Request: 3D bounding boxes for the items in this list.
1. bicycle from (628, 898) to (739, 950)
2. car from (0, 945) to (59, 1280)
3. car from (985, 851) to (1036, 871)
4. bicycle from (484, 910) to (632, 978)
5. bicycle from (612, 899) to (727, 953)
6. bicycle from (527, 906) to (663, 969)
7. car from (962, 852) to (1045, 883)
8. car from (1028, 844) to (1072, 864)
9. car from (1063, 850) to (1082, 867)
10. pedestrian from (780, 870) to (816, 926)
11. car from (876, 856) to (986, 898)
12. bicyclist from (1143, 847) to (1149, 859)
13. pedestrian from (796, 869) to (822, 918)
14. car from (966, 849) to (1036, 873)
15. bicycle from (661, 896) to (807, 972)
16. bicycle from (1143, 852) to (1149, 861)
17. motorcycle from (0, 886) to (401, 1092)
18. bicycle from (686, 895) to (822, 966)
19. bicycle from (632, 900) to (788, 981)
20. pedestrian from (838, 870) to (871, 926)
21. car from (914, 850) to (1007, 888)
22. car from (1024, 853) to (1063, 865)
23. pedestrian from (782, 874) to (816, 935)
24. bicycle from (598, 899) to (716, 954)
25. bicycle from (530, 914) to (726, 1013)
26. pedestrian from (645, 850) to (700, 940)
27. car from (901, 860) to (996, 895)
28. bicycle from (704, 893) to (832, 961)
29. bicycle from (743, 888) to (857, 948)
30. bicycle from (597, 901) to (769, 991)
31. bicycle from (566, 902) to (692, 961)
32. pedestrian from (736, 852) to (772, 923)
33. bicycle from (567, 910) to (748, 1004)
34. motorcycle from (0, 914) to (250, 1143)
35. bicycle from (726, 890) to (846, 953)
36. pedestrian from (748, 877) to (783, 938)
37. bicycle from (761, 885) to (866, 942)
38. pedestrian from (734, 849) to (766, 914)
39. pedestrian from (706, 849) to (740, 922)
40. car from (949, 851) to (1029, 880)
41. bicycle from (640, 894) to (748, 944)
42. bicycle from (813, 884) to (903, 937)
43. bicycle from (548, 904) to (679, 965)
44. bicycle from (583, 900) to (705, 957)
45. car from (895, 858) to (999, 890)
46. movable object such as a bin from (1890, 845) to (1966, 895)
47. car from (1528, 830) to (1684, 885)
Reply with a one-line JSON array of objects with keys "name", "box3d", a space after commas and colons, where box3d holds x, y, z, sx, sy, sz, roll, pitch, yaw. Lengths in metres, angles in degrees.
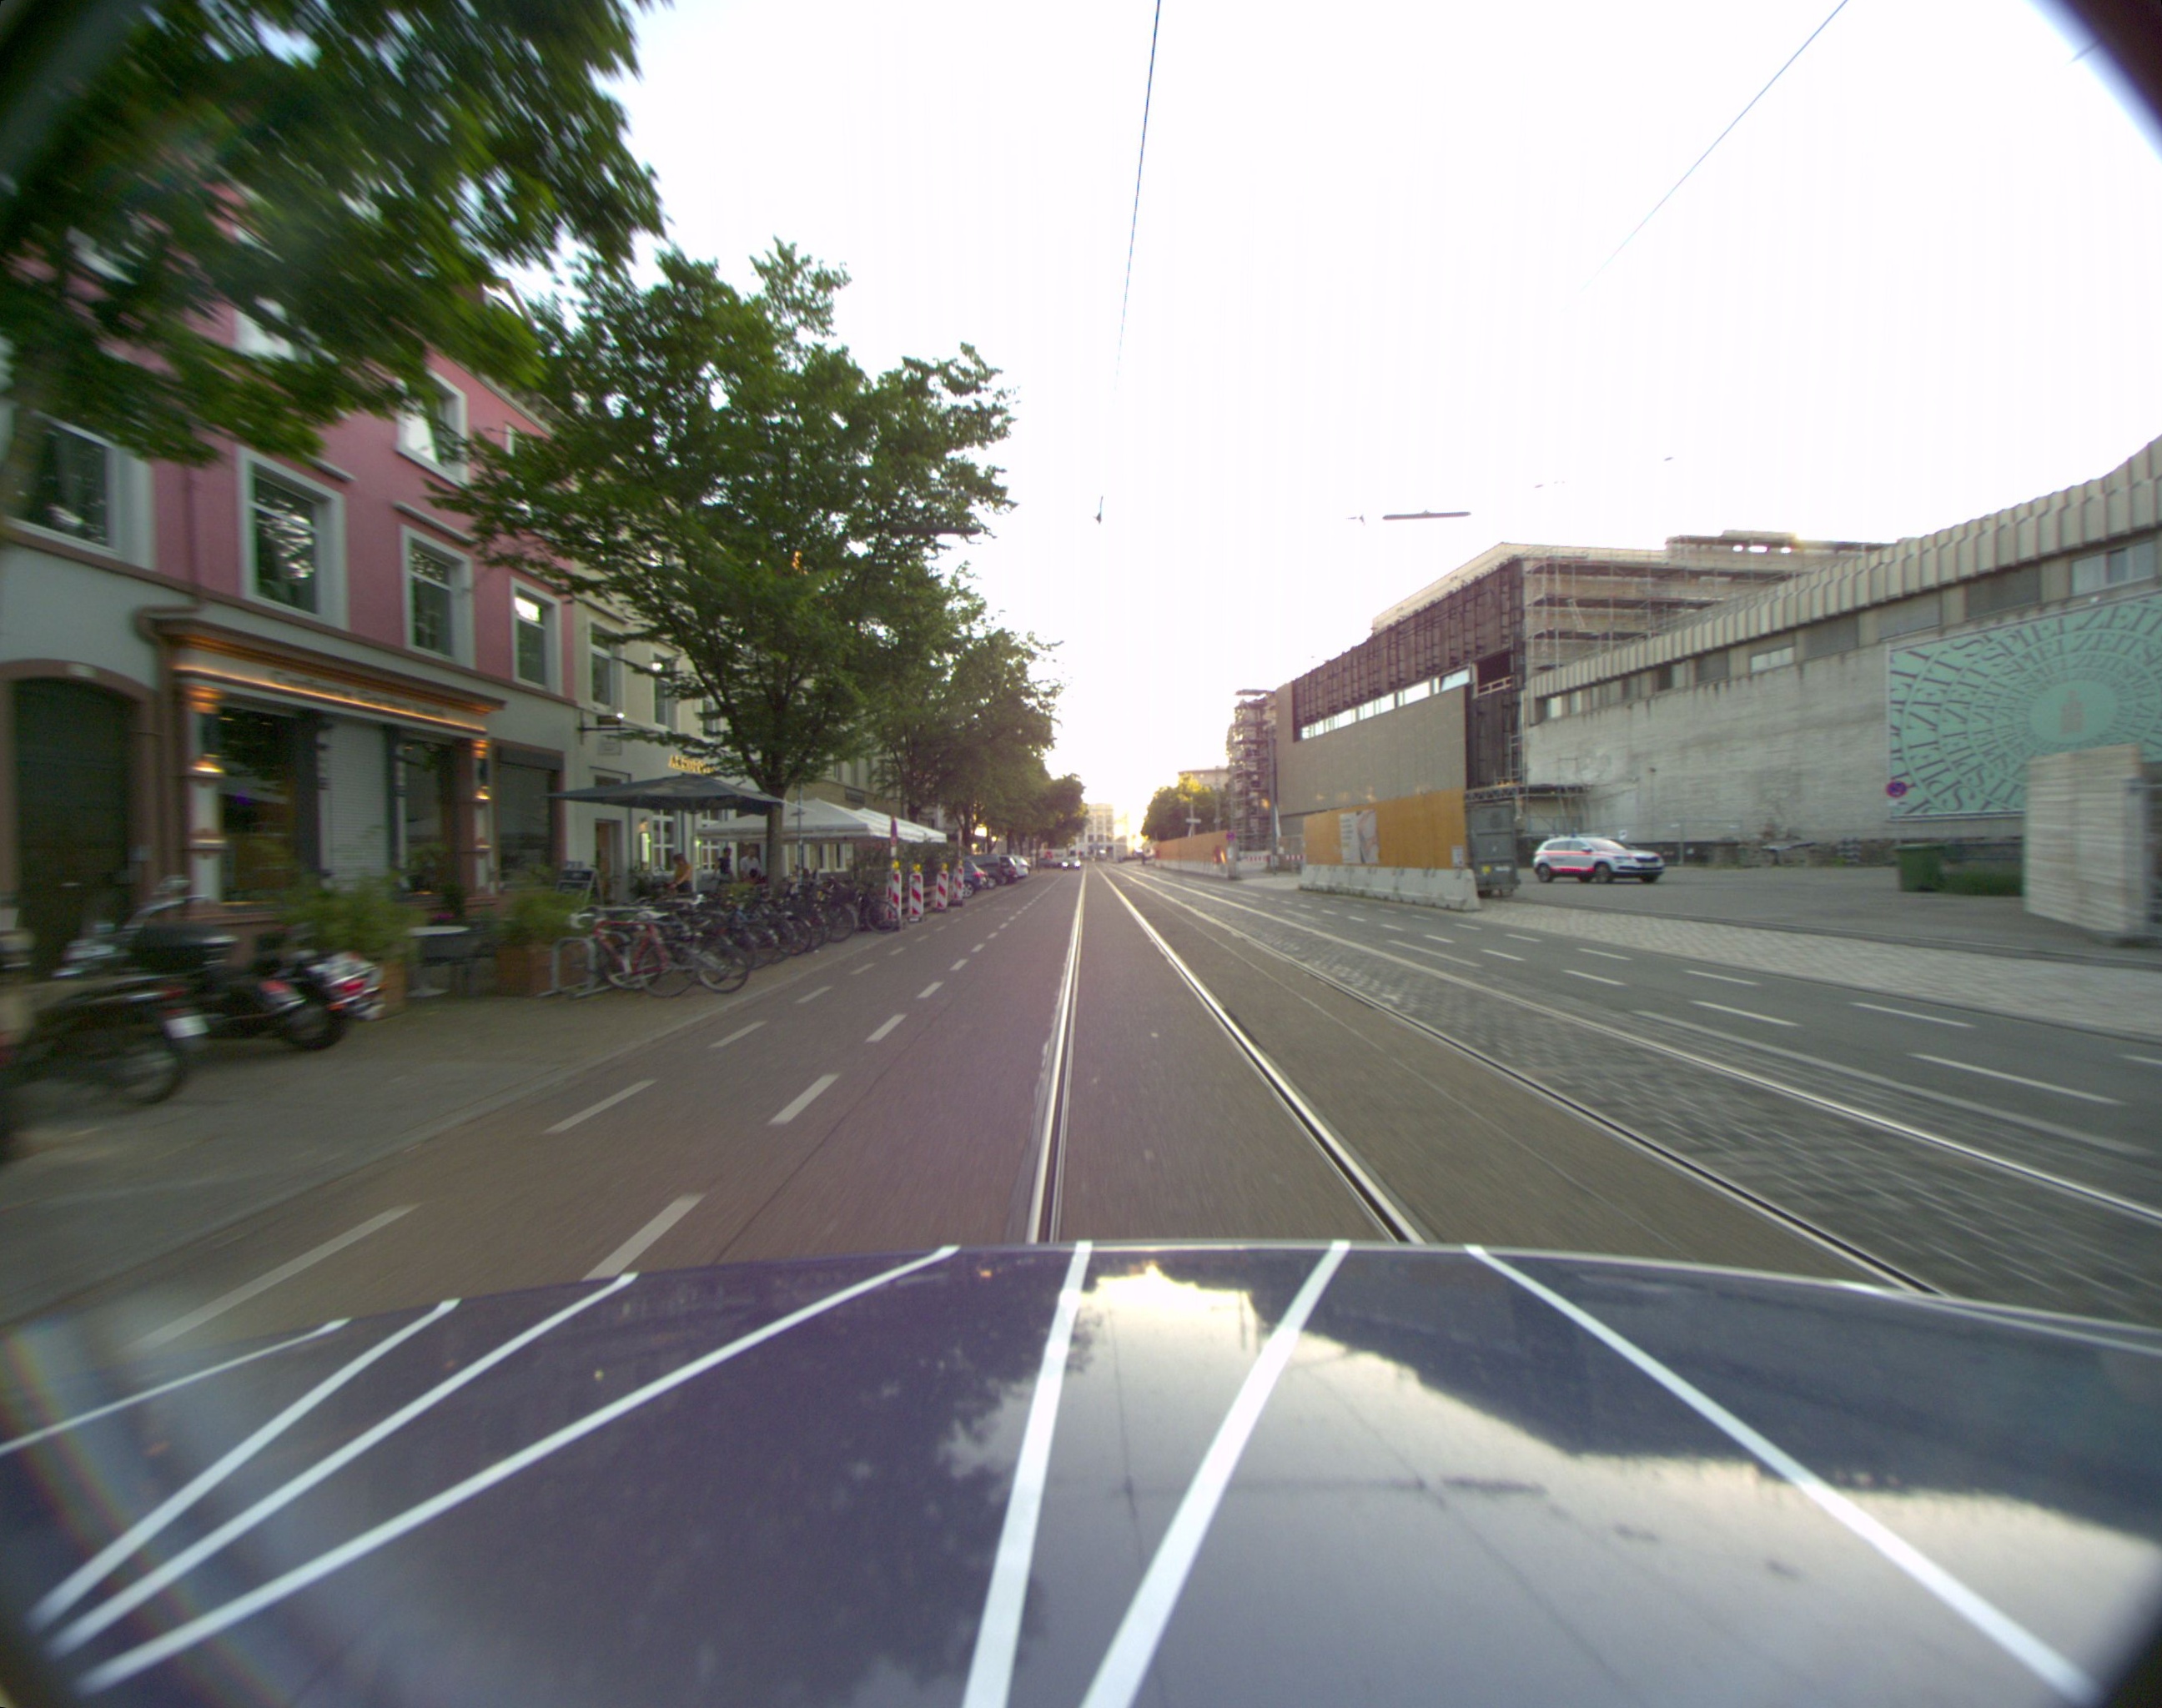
[{"name": "bicycle", "box3d": [-7.274, 1.270, 13.918, 1.820, 0.867, 0.325, -2, 1, -1]}, {"name": "car", "box3d": [-6.419, 1.075, 1.979, 4.179, 1.418, 1.820, 2, 0, -18]}, {"name": "car", "box3d": [-6.330, 0.615, 68.429, 4.176, 1.654, 1.837, 2, 0, -34]}, {"name": "bicycle", "box3d": [-7.331, 1.261, 10.678, 1.820, 0.867, 0.325, 2, 1, -1]}, {"name": "bicycle", "box3d": [-7.306, 1.276, 13.526, 1.820, 0.867, 0.325, -2, 1, -1]}, {"name": "bicycle", "box3d": [-7.340, 1.259, 11.501, 1.820, 0.867, 0.325, 2, 1, -1]}, {"name": "car", "box3d": [-4.501, 0.755, 44.288, 4.662, 1.678, 2.007, 1, 0, -5]}, {"name": "car", "box3d": [-4.291, -0.031, 105.033, 5.650, 2.678, 2.166, -1, 0, -34]}, {"name": "car", "box3d": [-0.957, 0.501, 83.331, 1.840, 1.631, 4.169, -5, 0, 1]}, {"name": "pedestrian", "box3d": [-6.779, 1.042, 18.197, 0.599, 1.285, 0.504, -2, 1, 3]}, {"name": "car", "box3d": [-5.888, 0.870, 29.840, 3.979, 1.544, 1.702, 0, 0, -25]}, {"name": "bicyclist", "box3d": [9.513, -0.175, 111.481, 0.770, 1.656, 1.018, -1, 0, 0]}, {"name": "pedestrian", "box3d": [-7.438, 1.064, 20.770, 0.553, 1.298, 0.713, -2, 1, -27]}, {"name": "car", "box3d": [-6.141, 0.541, 58.413, 4.984, 1.816, 2.204, 0, 0, -17]}, {"name": "bicycle", "box3d": [-5.209, 1.196, 11.463, 1.891, 1.025, 0.608, 2, 1, -1]}, {"name": "bicycle", "box3d": [9.517, 0.330, 111.510, 0.770, 1.221, 1.936, -1, 0, 0]}, {"name": "motorcycle", "box3d": [-6.988, 1.017, 6.066, 2.228, 1.453, 0.967, 1, 1, -1]}, {"name": "bicycle", "box3d": [-5.232, 1.214, 12.218, 1.891, 1.025, 0.608, 2, 1, -1]}, {"name": "bicycle", "box3d": [-5.252, 1.218, 10.817, 1.891, 1.025, 0.608, 2, 1, -1]}, {"name": "pedestrian", "box3d": [-5.421, 1.054, 18.233, 0.503, 1.285, 0.600, -2, 1, 6]}, {"name": "car", "box3d": [-6.047, 0.732, 37.999, 4.167, 1.796, 2.003, 0, 0, -28]}, {"name": "car", "box3d": [-4.868, 0.666, 98.746, 4.614, 1.504, 1.859, 1, -1, -25]}, {"name": "pedestrian", "box3d": [-6.177, 1.101, 16.661, 0.503, 1.285, 0.600, -2, 1, -4]}, {"name": "bicycle", "box3d": [-7.309, 1.241, 13.119, 1.820, 0.867, 0.325, 2, 1, -1]}, {"name": "bicycle", "box3d": [-5.217, 1.252, 8.809, 1.908, 1.025, 0.533, 2, 1, -1]}, {"name": "pedestrian", "box3d": [-8.270, 0.808, 15.422, 0.552, 1.753, 0.894, -2, 1, 0]}, {"name": "car", "box3d": [-5.693, 0.985, 32.632, 3.788, 1.399, 1.703, 0, 0, -21]}, {"name": "bicycle", "box3d": [-5.279, 1.226, 12.889, 1.891, 1.025, 0.608, 2, 1, -1]}, {"name": "bicycle", "box3d": [-5.265, 1.199, 14.288, 1.891, 1.025, 0.608, 2, 1, -1]}, {"name": "bicycle", "box3d": [-5.246, 1.198, 10.089, 1.891, 1.061, 0.674, 2, 1, -1]}, {"name": "bicycle", "box3d": [-7.314, 1.253, 12.327, 1.820, 0.867, 0.325, 2, 1, -1]}, {"name": "pedestrian", "box3d": [-8.213, 0.826, 19.127, 0.552, 1.753, 0.715, -2, 1, -3]}, {"name": "bicycle", "box3d": [-5.208, 1.260, 9.406, 1.868, 1.025, 0.591, 2, 1, -2]}, {"name": "motorcycle", "box3d": [-6.510, 1.076, 4.848, 1.790, 1.336, 0.533, 1, 1, -1]}, {"name": "bicycle", "box3d": [-5.268, 1.203, 13.622, 1.891, 1.025, 0.608, 2, 1, -1]}, {"name": "pedestrian", "box3d": [-6.936, 1.166, 16.730, 0.503, 1.285, 0.600, -2, 1, -3]}, {"name": "bicycle", "box3d": [-5.272, 1.162, 15.030, 1.820, 1.025, 0.608, 2, 1, -1]}, {"name": "pedestrian", "box3d": [-9.190, 0.745, 21.074, 0.705, 1.753, 0.713, -2, 1, -27]}, {"name": "pedestrian", "box3d": [-8.894, 0.767, 18.902, 0.553, 1.753, 0.851, -2, 1, -16]}, {"name": "car", "box3d": [-5.622, 0.683, 46.706, 4.660, 1.678, 2.008, 1, 0, 0]}, {"name": "bicycle", "box3d": [-7.413, 1.243, 14.586, 1.820, 0.867, 0.387, -2, 1, -1]}, {"name": "bicycle", "box3d": [-4.642, 1.178, 15.891, 1.683, 1.025, 0.557, 2, 1, -1]}, {"name": "bicycle", "box3d": [-7.319, 1.258, 11.922, 1.820, 0.867, 0.325, 2, 1, -1]}, {"name": "bicycle", "box3d": [-7.304, 1.239, 12.710, 1.820, 0.867, 0.325, 2, 1, -1]}, {"name": "car", "box3d": [-6.168, 0.934, 35.039, 4.331, 1.381, 1.802, 1, 0, -30]}, {"name": "movable object such as a bin", "box3d": [18.535, 0.342, 16.638, 0.841, 1.029, 0.762, -2, 1, -7]}, {"name": "car", "box3d": [17.579, 0.104, 25.734, 2.000, 1.654, 4.277, -2, 0, -7]}]
